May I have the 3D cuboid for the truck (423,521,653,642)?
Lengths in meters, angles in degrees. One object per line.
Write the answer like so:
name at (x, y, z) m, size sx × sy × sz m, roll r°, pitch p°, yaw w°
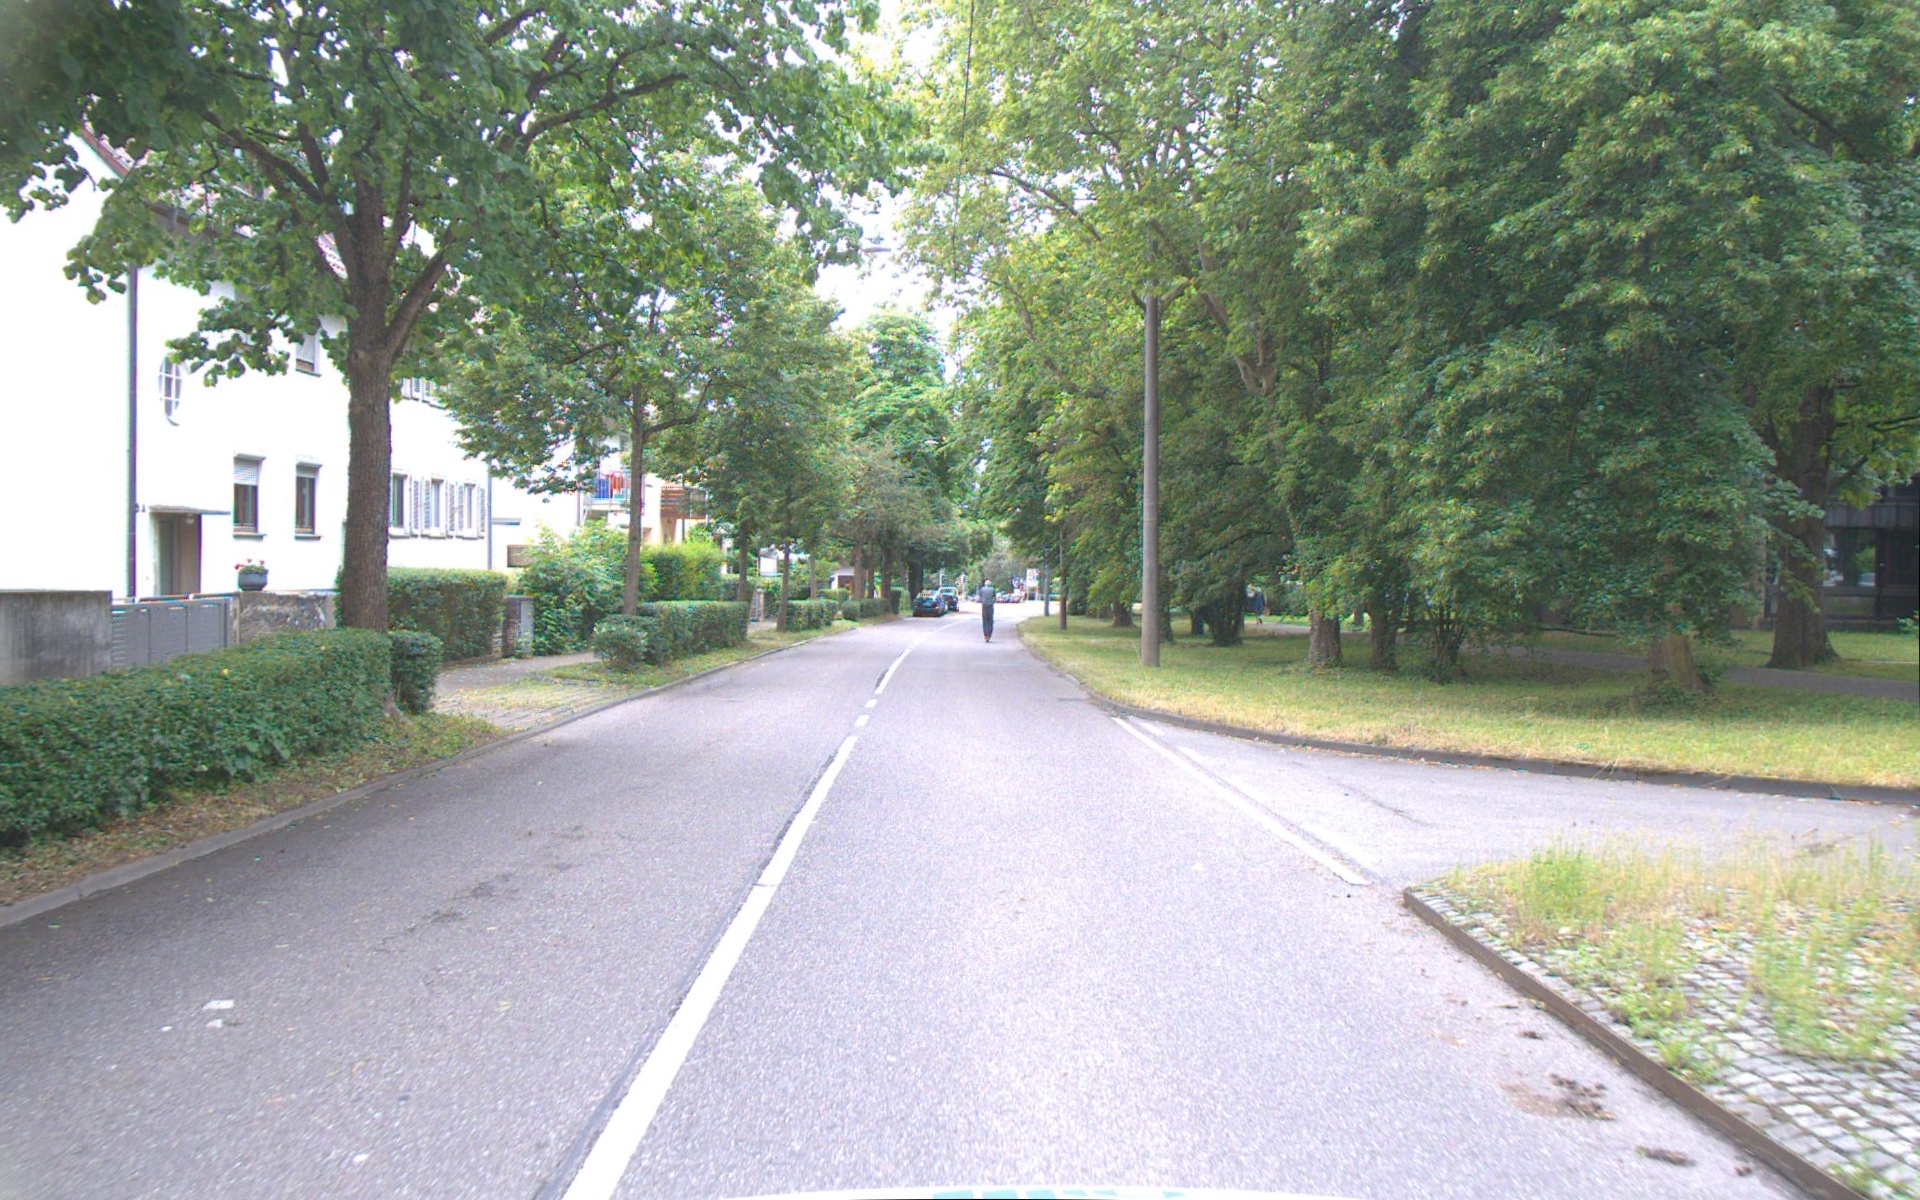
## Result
truck at (-11.629, -0.504, 45.913) m, size 5.678 × 3.185 × 2.517 m, roll 1°, pitch 0°, yaw -1°

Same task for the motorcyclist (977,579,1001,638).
motorcyclist at (0.903, 0.263, 51.829) m, size 0.659 × 1.792 × 0.639 m, roll 2°, pitch 0°, yaw 4°

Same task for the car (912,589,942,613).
car at (-2.053, 0.053, 103.531) m, size 1.757 × 1.498 × 4.418 m, roll 0°, pitch 0°, yaw 0°

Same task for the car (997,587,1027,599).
car at (6.747, -0.908, 215.406) m, size 3.905 × 1.537 × 1.800 m, roll 0°, pitch 0°, yaw 0°

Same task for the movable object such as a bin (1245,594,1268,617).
movable object such as a bin at (19.879, 0.380, 111.101) m, size 1.299 × 1.527 × 1.314 m, roll -1°, pitch 0°, yaw 0°

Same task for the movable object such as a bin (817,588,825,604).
movable object such as a bin at (-7.953, -0.235, 94.859) m, size 0.447 × 0.931 × 0.508 m, roll 0°, pitch 0°, yaw -4°

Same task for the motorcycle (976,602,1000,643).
motorcycle at (0.878, 0.695, 51.586) m, size 0.659 × 1.239 × 1.274 m, roll 2°, pitch 0°, yaw 4°

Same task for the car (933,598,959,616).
car at (-1.151, 0.546, 134.612) m, size 1.852 × 1.435 × 4.555 m, roll 0°, pitch -1°, yaw 3°
